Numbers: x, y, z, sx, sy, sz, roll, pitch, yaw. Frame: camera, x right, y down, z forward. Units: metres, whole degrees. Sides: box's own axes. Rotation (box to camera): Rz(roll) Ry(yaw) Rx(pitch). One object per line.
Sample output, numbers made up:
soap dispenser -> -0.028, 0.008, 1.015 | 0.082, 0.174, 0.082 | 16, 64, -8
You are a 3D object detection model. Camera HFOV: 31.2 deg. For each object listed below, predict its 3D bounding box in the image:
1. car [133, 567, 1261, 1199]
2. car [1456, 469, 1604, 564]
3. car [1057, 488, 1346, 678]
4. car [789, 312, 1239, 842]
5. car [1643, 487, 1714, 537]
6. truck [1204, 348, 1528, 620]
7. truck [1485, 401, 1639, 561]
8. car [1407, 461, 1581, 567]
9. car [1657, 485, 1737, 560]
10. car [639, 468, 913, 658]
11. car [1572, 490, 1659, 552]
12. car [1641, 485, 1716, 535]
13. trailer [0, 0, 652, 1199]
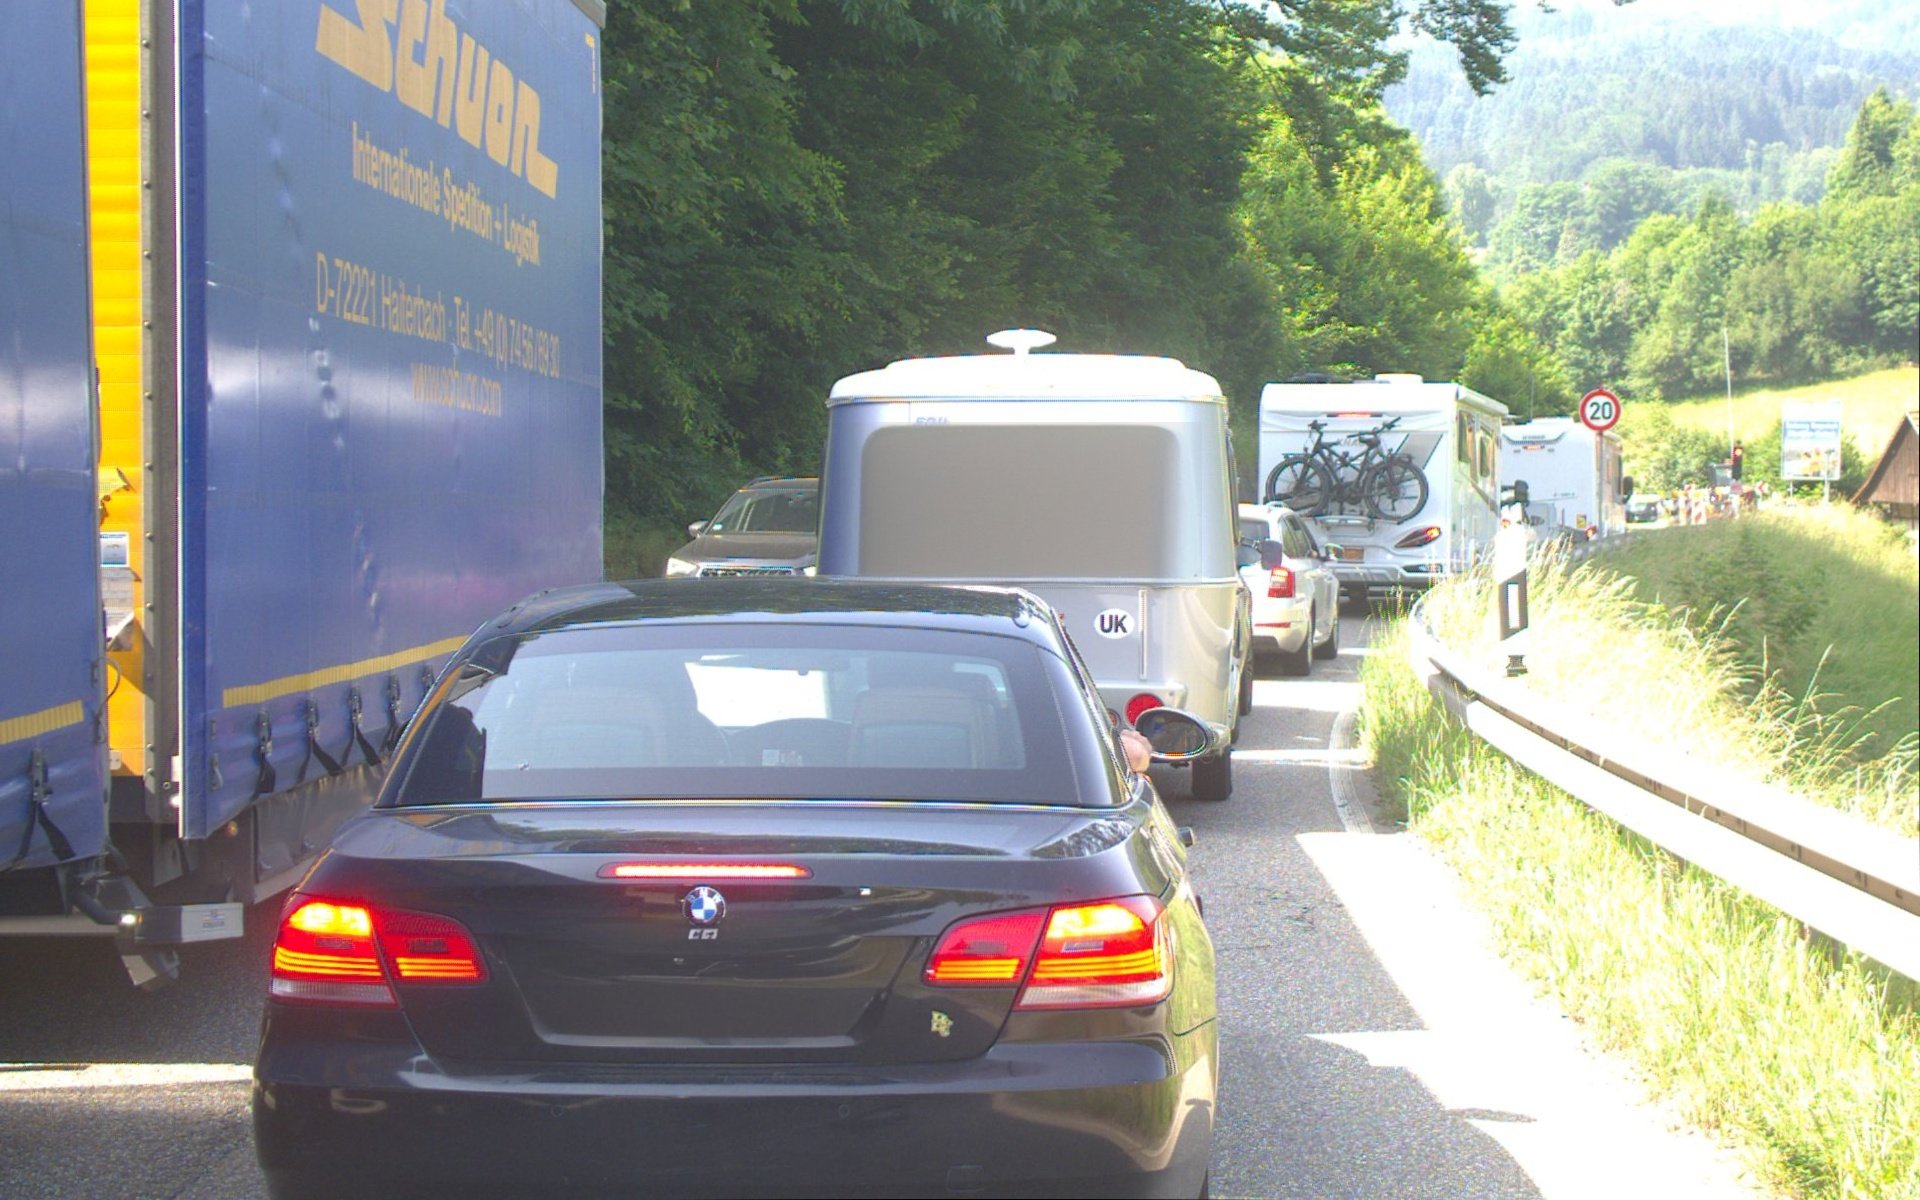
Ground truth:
car -> -0.358, 0.641, 7.279 | 1.771, 1.331, 3.767 | 0, 2, 2
car -> 9.558, -1.422, 57.438 | 1.789, 1.459, 3.997 | 3, 3, 18
car -> 2.187, -0.203, 30.094 | 1.994, 1.479, 3.998 | 2, 2, 11
car -> 0.430, -0.194, 17.761 | 1.994, 2.345, 4.913 | 0, 2, 5
car -> 25.604, -3.114, 122.407 | 1.995, 1.678, 3.996 | 1, 1, 18
truck -> 5.123, -1.454, 42.265 | 2.793, 2.987, 6.863 | 3, 3, 16
truck -> 11.223, -2.146, 63.750 | 2.239, 2.794, 6.228 | 1, 1, 15
car -> 8.095, -1.329, 51.882 | 1.995, 1.459, 3.997 | 3, 3, 17
car -> 20.478, -2.123, 95.449 | 1.995, 1.919, 3.998 | 4, 1, 13
car -> -1.594, -0.389, 31.180 | 1.822, 1.579, 4.082 | 1, 2, 6
car -> 16.448, -1.967, 86.132 | 1.908, 1.481, 3.998 | 1, 1, 14
car -> 23.644, -2.948, 113.053 | 1.995, 1.570, 3.997 | 1, 1, 17
trailer -> -3.319, -0.935, 9.381 | 3.260, 4.402, 15.317 | 1, 2, 1
